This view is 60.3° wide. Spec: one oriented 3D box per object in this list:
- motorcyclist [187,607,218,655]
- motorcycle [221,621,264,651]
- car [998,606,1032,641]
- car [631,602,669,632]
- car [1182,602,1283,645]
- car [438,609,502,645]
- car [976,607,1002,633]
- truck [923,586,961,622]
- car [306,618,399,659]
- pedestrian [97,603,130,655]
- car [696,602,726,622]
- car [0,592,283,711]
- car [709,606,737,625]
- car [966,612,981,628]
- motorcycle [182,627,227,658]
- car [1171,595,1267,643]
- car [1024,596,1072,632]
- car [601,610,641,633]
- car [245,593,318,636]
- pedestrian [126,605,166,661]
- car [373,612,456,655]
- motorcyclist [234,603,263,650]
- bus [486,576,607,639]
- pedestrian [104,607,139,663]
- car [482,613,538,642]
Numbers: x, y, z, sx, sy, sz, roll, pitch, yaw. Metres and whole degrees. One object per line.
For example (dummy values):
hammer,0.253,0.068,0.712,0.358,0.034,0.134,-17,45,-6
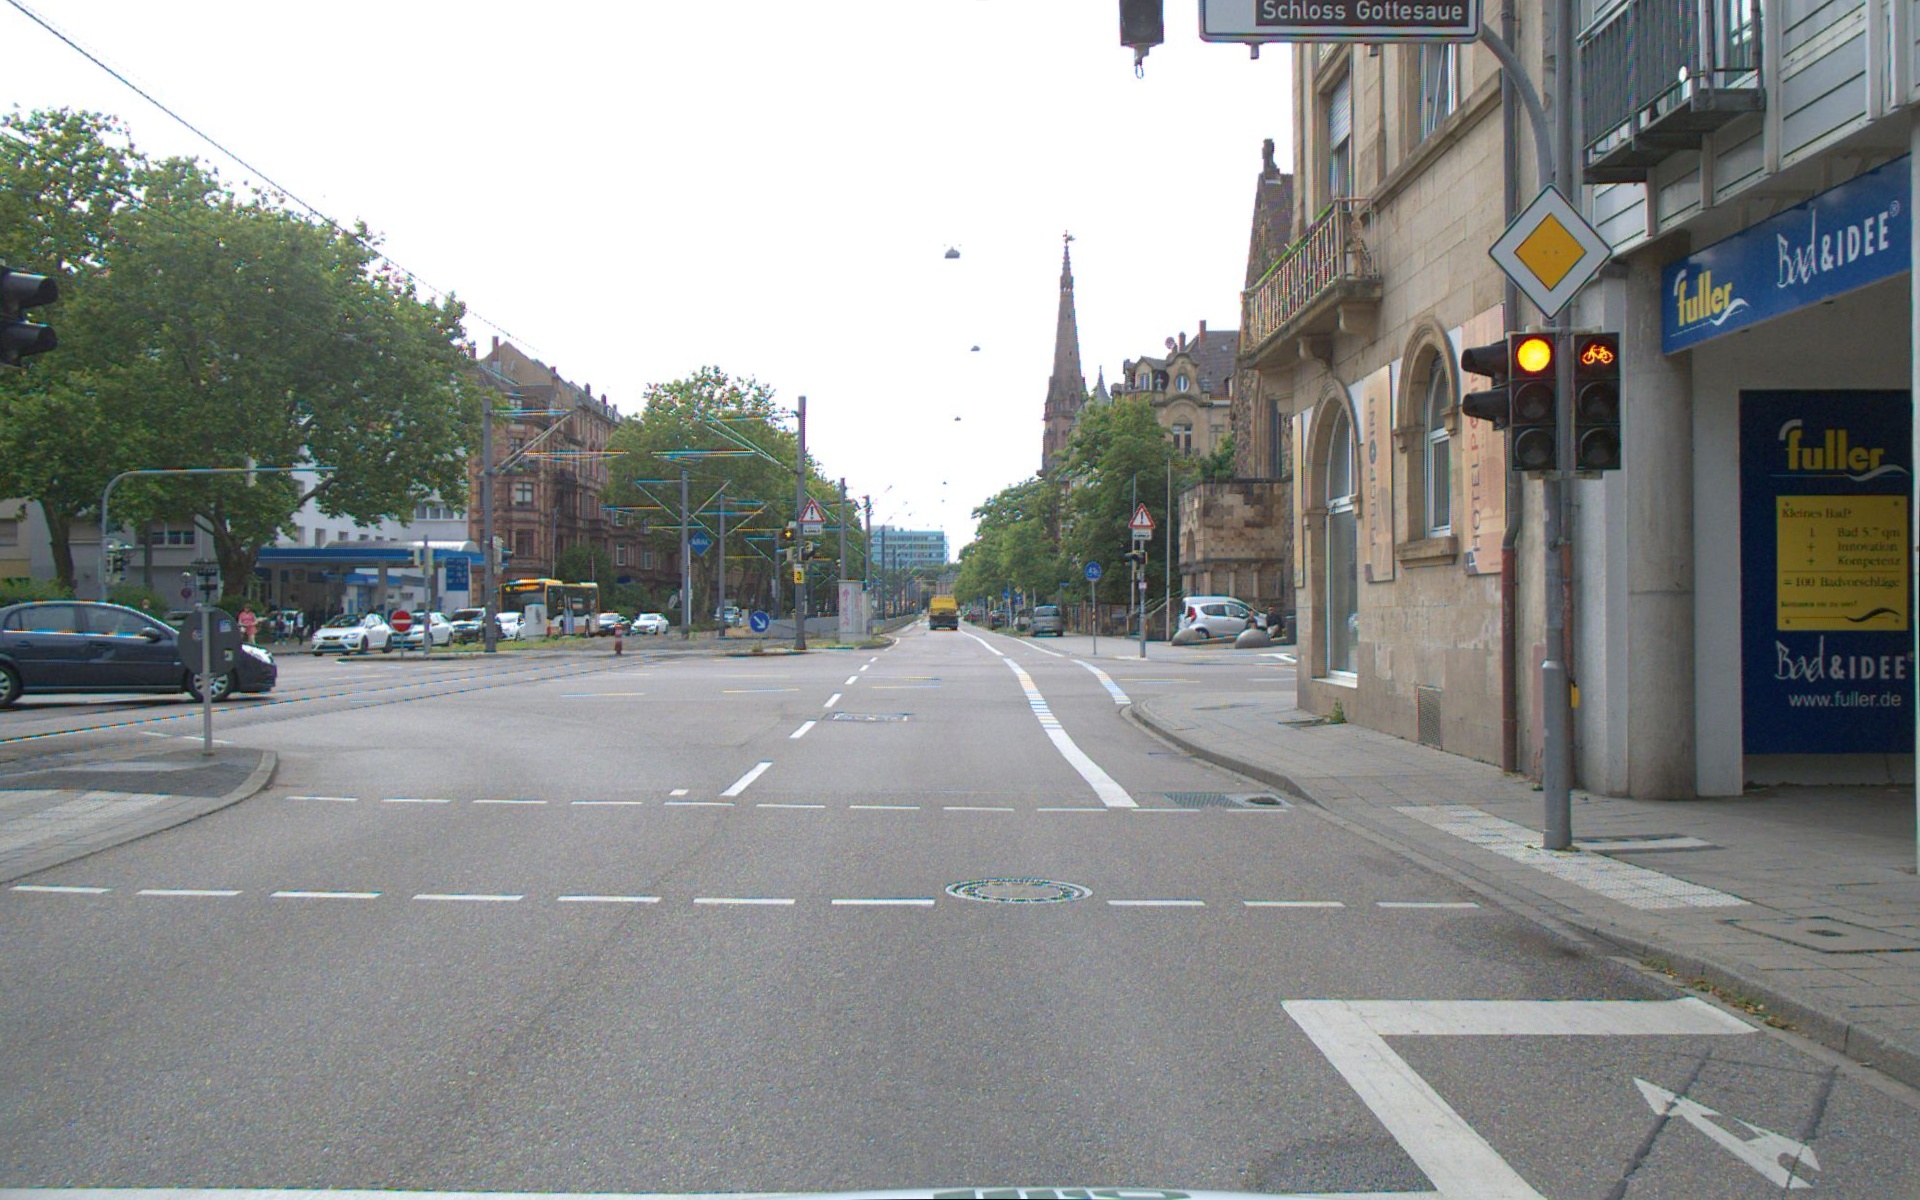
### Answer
motorcyclist,-24.676,1.001,53.894,0.607,1.546,0.873,0,0,-1
motorcycle,-23.688,1.175,54.659,0.594,0.945,1.951,0,0,0
car,3.290,1.414,99.633,1.952,2.049,4.000,1,0,1
car,-21.511,1.159,114.844,1.953,2.049,3.999,1,0,-1
car,10.676,0.919,65.053,3.638,1.591,2.000,1,0,-1
car,-21.221,1.144,71.768,1.622,1.504,3.638,1,0,1
car,2.379,1.620,135.988,1.953,2.049,3.999,1,0,-1
truck,-1.430,0.321,137.497,2.993,2.817,9.815,0,0,0
car,-21.468,1.337,58.613,1.711,1.344,4.075,1,0,1
pedestrian,-28.170,0.965,55.066,0.669,1.720,0.742,1,-1,4
car,-21.221,1.026,141.168,1.953,1.639,3.999,1,0,-1
car,-12.047,0.690,23.454,4.464,1.591,1.984,0,0,-25
car,-21.337,1.383,148.978,1.953,1.639,3.999,1,0,-1
car,1.769,2.651,216.810,1.953,2.049,3.999,1,0,-1
motorcycle,-24.677,1.377,54.064,0.594,0.945,1.951,0,0,0
car,10.693,0.788,68.543,3.638,1.888,2.000,1,0,-1
car,4.817,0.765,90.034,1.951,1.888,4.030,1,0,12
car,-20.849,1.309,101.926,1.622,1.344,3.638,1,0,1
car,-32.932,0.693,80.346,1.953,2.049,3.999,0,0,-1
pedestrian,-25.797,1.029,52.427,0.857,1.743,0.872,-1,-1,37
car,-21.421,1.293,65.114,1.953,1.622,3.999,1,0,-1
motorcyclist,-23.657,0.864,54.994,0.607,1.546,0.873,0,0,-1
bus,-21.965,0.422,88.740,3.164,3.088,12.312,1,0,1
pedestrian,-26.232,1.089,51.741,0.853,1.743,0.688,-1,-1,37
car,-21.378,1.289,78.686,1.622,1.344,3.638,1,0,1
